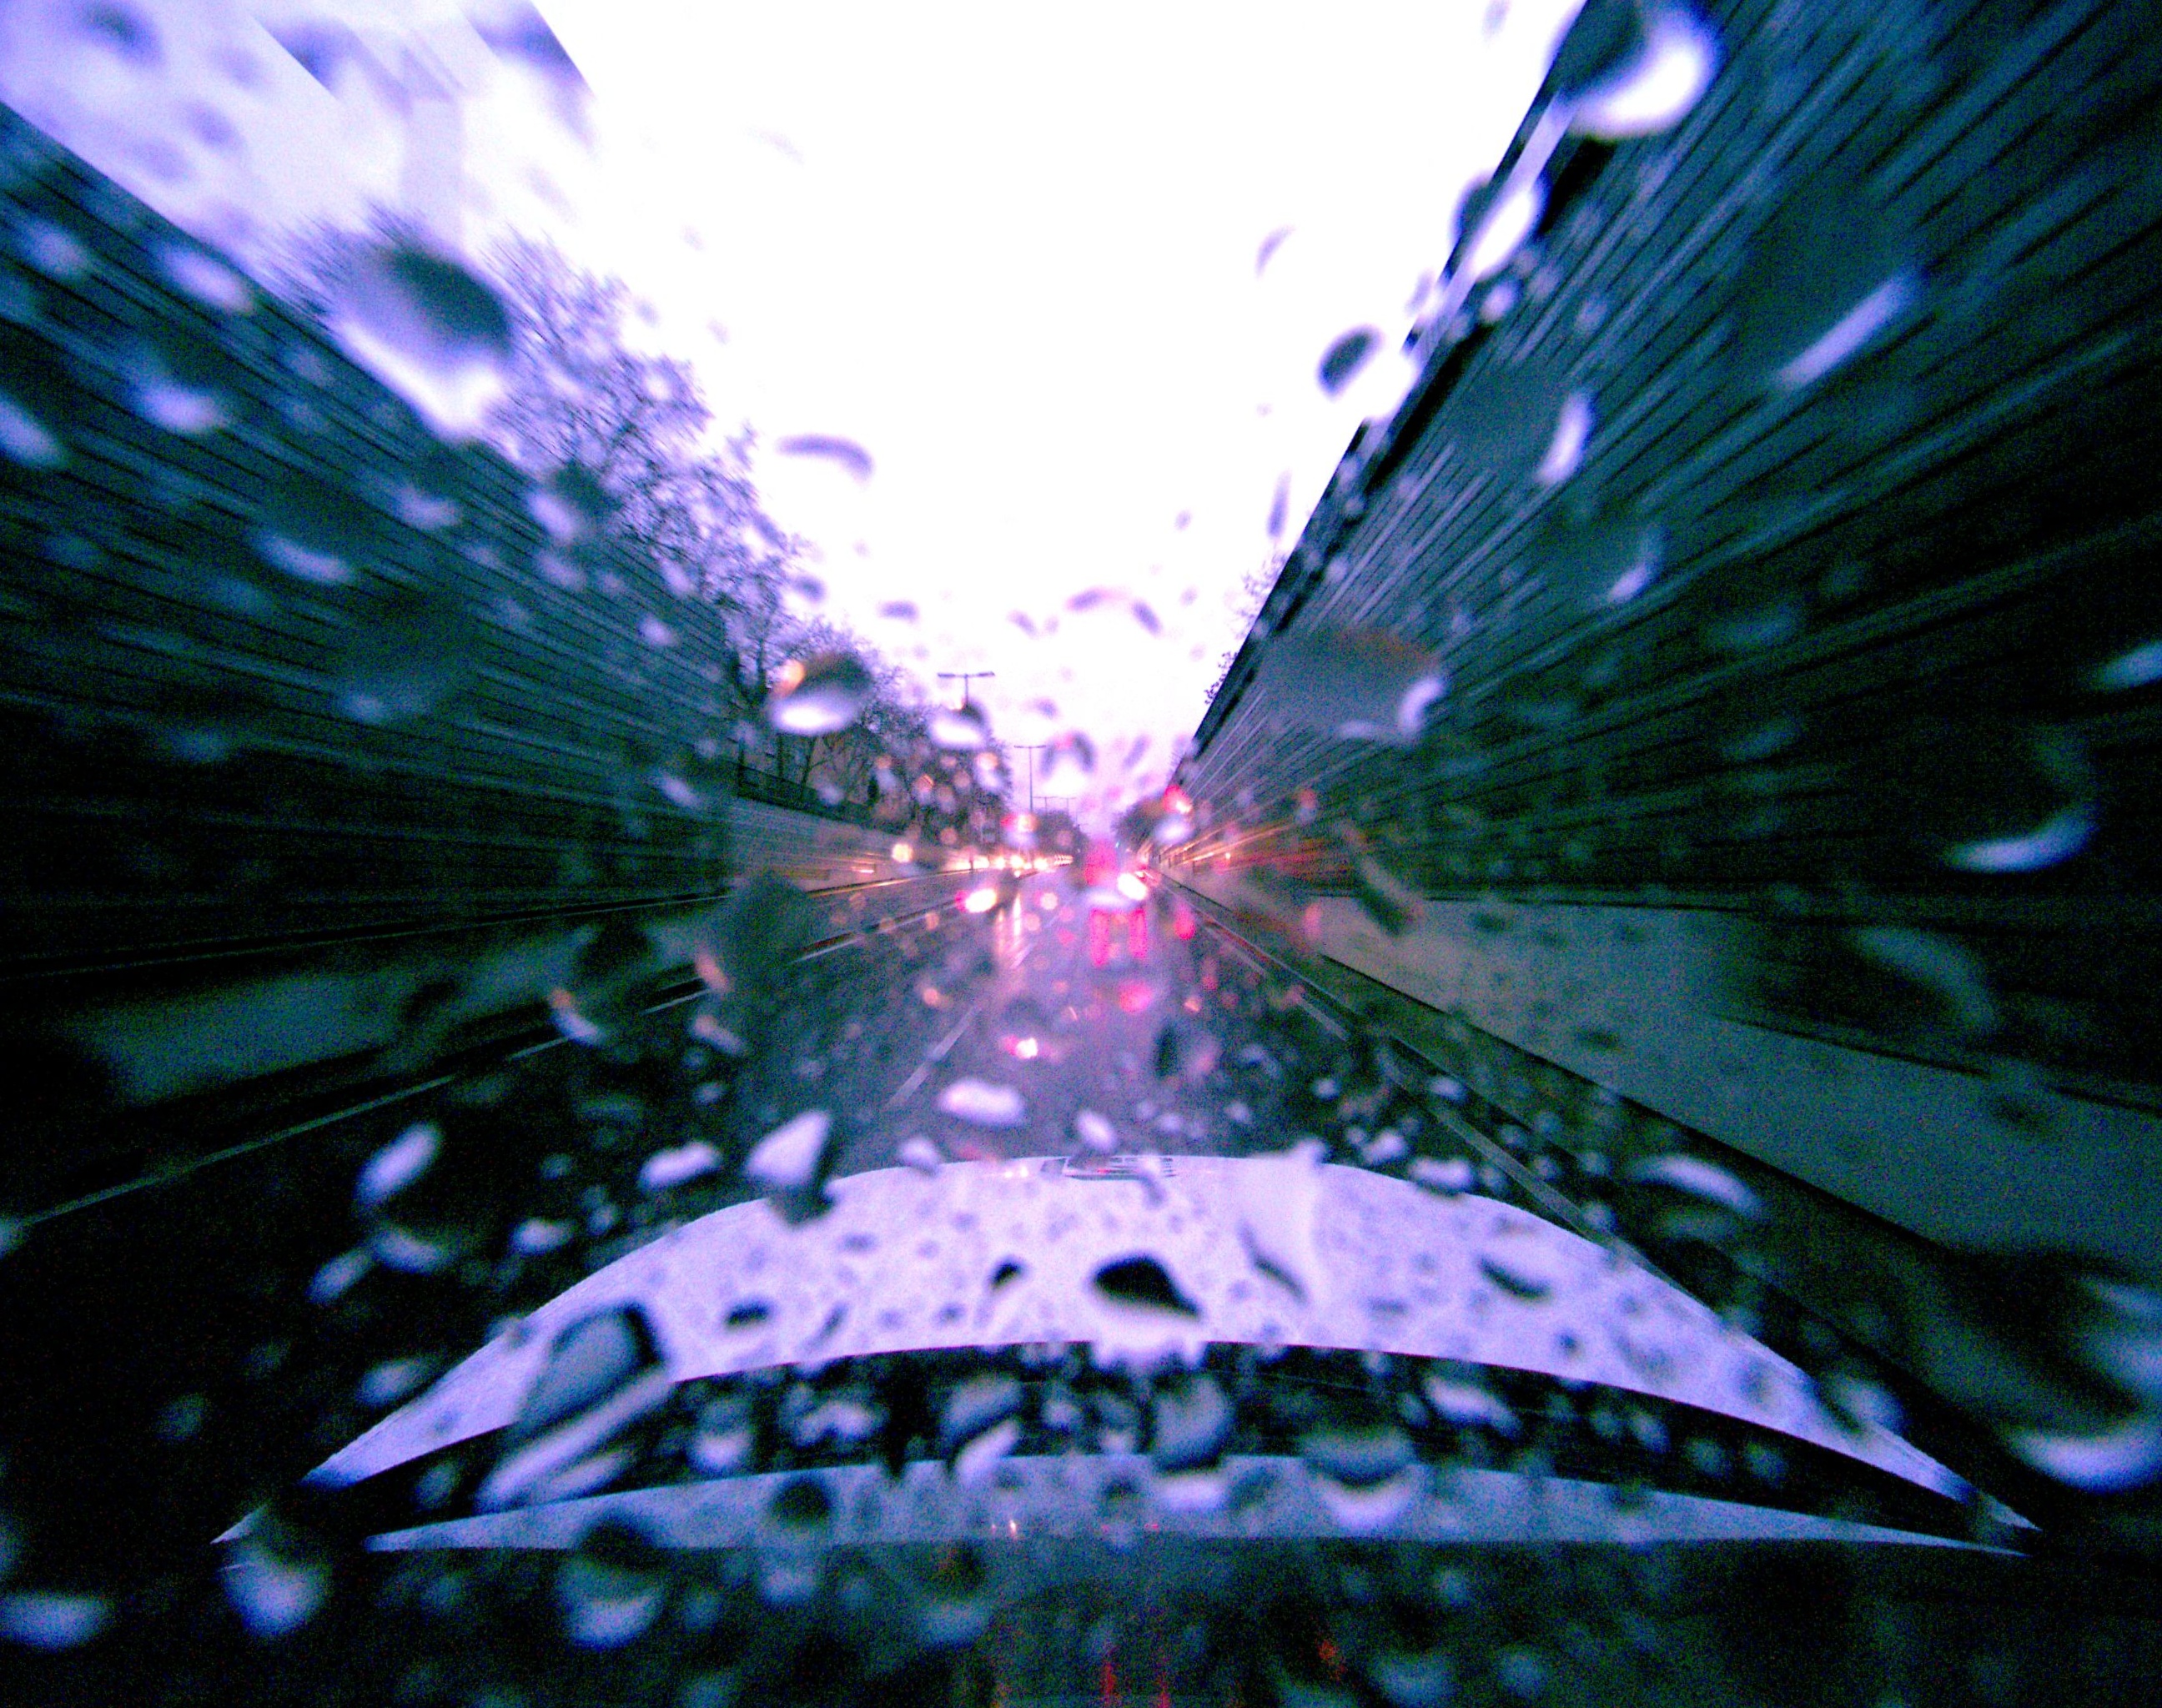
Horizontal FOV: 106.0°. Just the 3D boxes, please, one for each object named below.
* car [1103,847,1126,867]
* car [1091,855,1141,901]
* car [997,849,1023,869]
[{"bbox_3d":[2.907,0.287,71.767,1.874,1.621,3.999,-1,-3,0],"label":"car"},{"bbox_3d":[1.155,0.790,26.982,1.526,1.397,3.435,-1,-1,2],"label":"car"},{"bbox_3d":[-5.686,0.372,65.603,1.566,1.470,3.688,-2,1,2],"label":"car"}]
